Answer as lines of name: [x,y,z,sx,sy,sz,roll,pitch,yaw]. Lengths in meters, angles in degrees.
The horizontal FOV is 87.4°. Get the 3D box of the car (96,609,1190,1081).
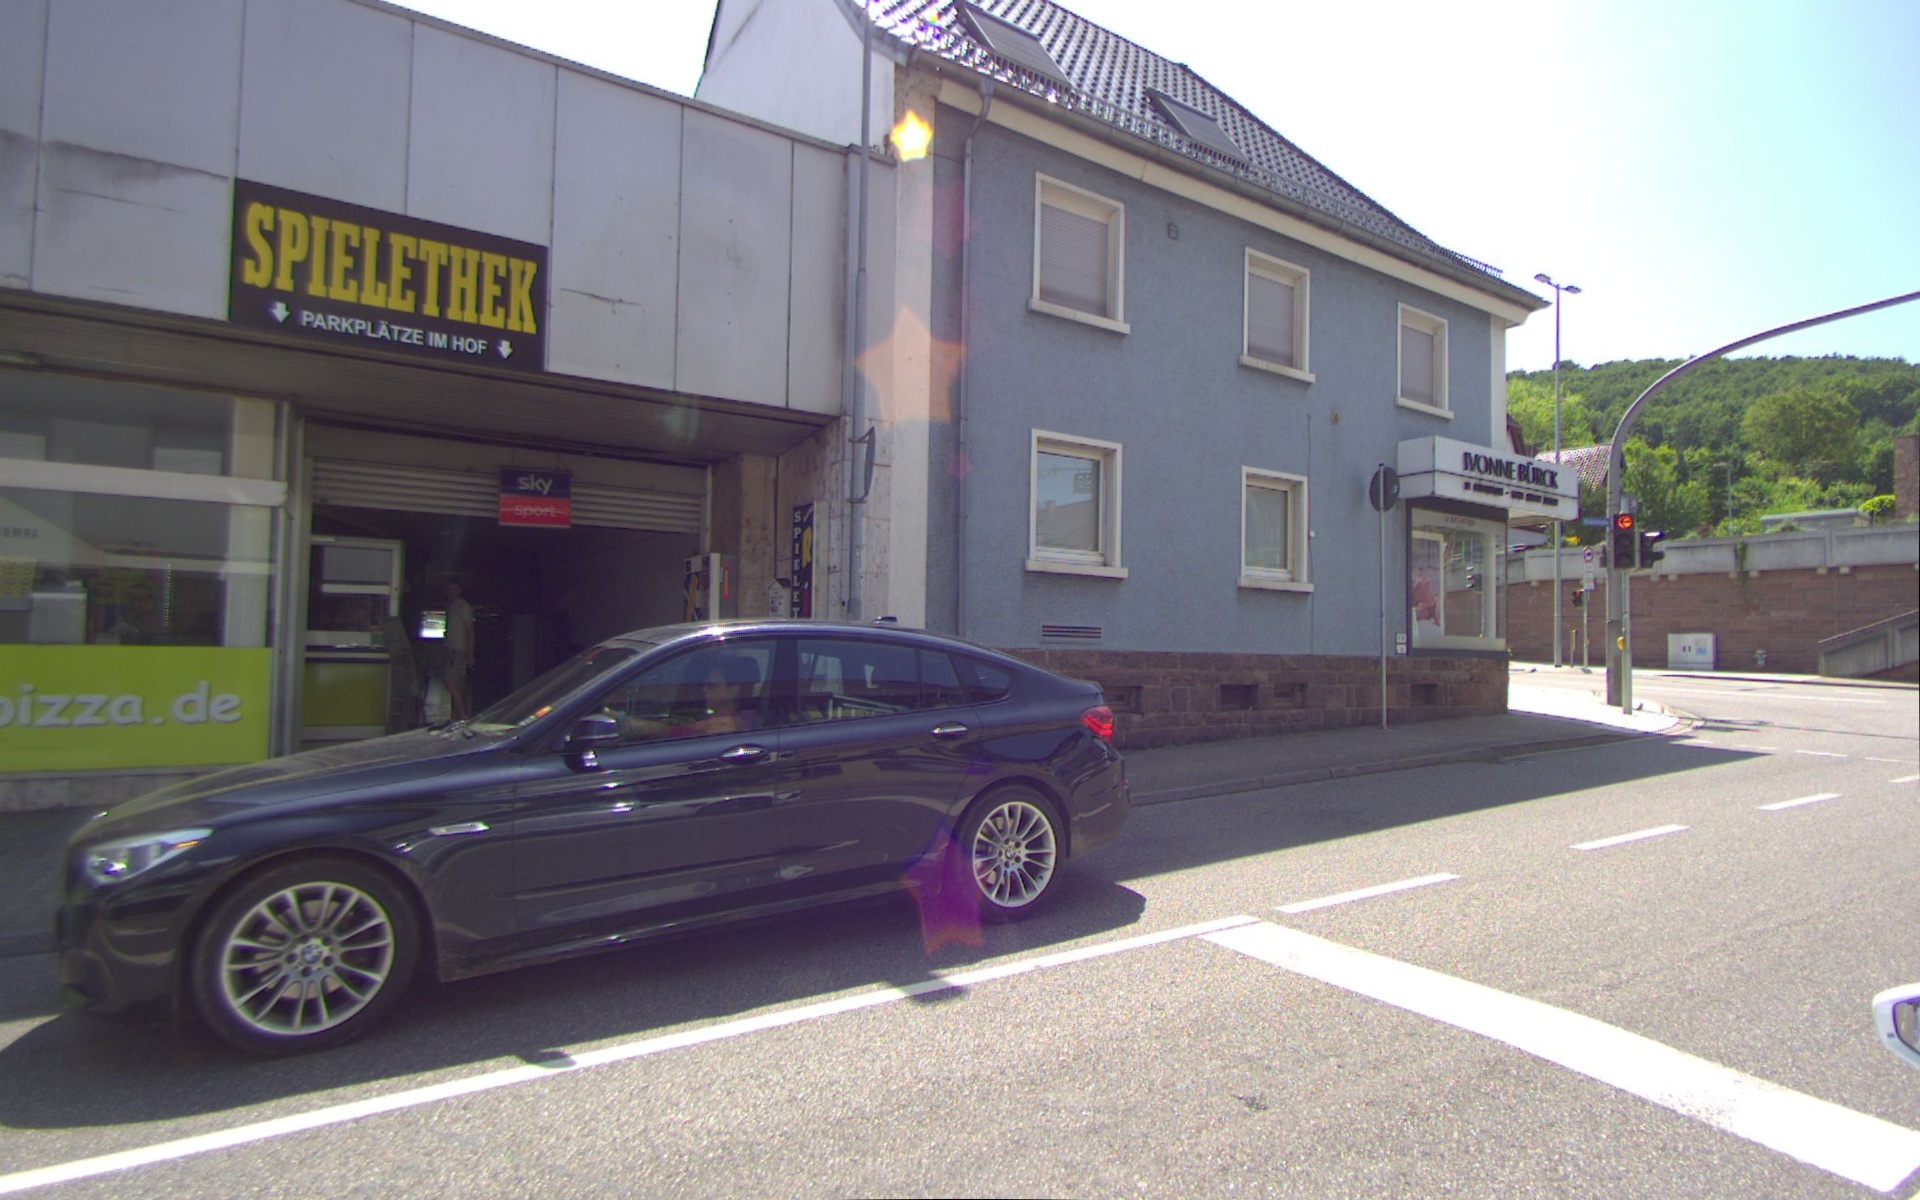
car: [-1.183,0.919,5.253,4.742,1.506,1.788,2,-5,-31]

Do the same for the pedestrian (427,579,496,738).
pedestrian: [-6.069,0.698,12.217,0.686,1.852,0.738,1,-1,-30]
